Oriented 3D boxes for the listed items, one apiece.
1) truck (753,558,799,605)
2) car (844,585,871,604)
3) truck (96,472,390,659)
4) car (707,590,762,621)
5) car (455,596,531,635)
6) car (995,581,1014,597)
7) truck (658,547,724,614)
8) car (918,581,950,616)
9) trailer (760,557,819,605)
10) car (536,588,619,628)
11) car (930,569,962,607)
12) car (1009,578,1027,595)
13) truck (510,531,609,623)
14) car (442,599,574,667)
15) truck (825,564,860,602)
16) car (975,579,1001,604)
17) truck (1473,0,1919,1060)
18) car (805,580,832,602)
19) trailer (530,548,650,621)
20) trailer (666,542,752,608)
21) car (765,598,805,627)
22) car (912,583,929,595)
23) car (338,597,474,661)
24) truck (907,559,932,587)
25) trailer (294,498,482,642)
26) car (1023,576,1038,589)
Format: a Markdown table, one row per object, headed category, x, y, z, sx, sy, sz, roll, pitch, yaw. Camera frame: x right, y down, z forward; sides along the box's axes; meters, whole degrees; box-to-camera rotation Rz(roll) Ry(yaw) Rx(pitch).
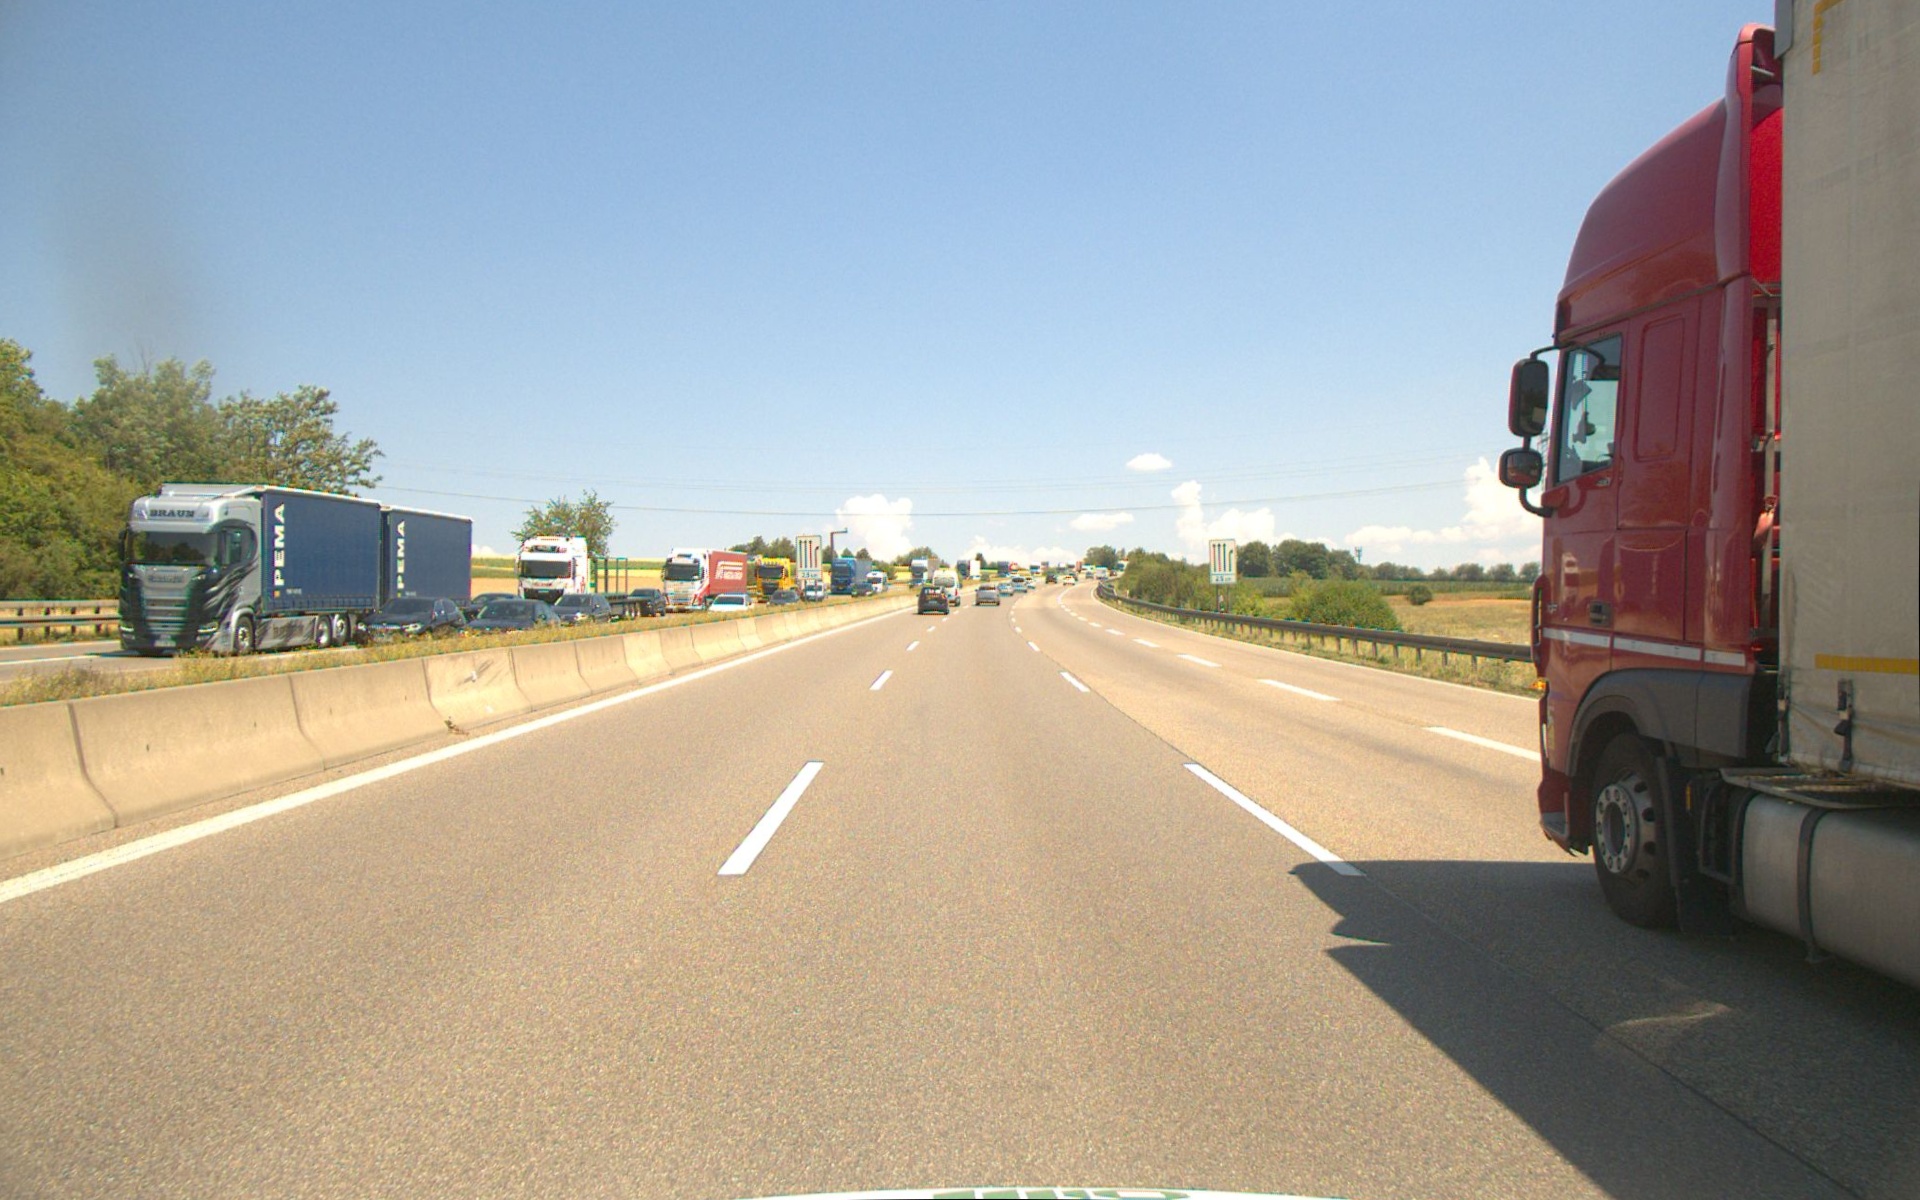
| category | x | y | z | sx | sy | sz | roll | pitch | yaw |
| --- | --- | --- | --- | --- | --- | --- | --- | --- | --- |
| truck | -15.938 | -1.633 | 143.577 | 2.693 | 3.904 | 7.102 | 0 | 1 | 4 |
| car | -9.201 | -0.508 | 148.398 | 2.007 | 1.725 | 5.256 | 0 | 1 | 0 |
| truck | -18.418 | -0.849 | 43.584 | 2.939 | 4.308 | 10.734 | 0 | 0 | 1 |
| car | -10.392 | 0.291 | 76.573 | 1.800 | 1.307 | 4.874 | 0 | -2 | 0 |
| car | -17.876 | 0.569 | 63.497 | 1.622 | 1.456 | 4.648 | 0 | 0 | 0 |
| car | 4.835 | -1.205 | 178.074 | 1.952 | 1.613 | 4.001 | -1 | 0 | 2 |
| truck | -17.230 | -1.244 | 106.354 | 2.972 | 4.153 | 6.317 | 0 | 1 | 2 |
| car | -1.510 | -0.114 | 96.323 | 1.809 | 1.893 | 4.206 | 0 | 2 | 0 |
| trailer | -15.439 | -1.781 | 150.826 | 2.890 | 4.172 | 14.389 | 0 | 1 | 4 |
| car | -14.439 | 0.279 | 62.697 | 1.953 | 1.481 | 5.170 | 0 | 0 | 0 |
| car | -1.023 | -0.867 | 122.375 | 2.134 | 2.671 | 4.673 | 0 | -2 | 2 |
| car | 6.944 | -1.602 | 197.900 | 1.952 | 1.937 | 3.999 | 0 | -2 | 0 |
| truck | -17.944 | -1.023 | 74.515 | 2.841 | 3.944 | 6.179 | 0 | 0 | 1 |
| car | -11.141 | 0.772 | 41.131 | 1.953 | 1.554 | 4.772 | 1 | 0 | 0 |
| truck | -13.244 | -1.958 | 186.915 | 3.011 | 4.161 | 6.939 | 0 | 1 | 4 |
| car | 2.156 | -0.618 | 126.808 | 1.952 | 1.781 | 4.000 | 0 | -2 | 0 |
| truck | 4.618 | -0.490 | 6.797 | 2.857 | 4.079 | 6.509 | 1 | 0 | -1 |
| car | -12.021 | -0.797 | 140.779 | 1.874 | 1.803 | 4.763 | 0 | 0 | 0 |
| trailer | -17.864 | -0.768 | 80.869 | 2.799 | 3.262 | 12.785 | 0 | 1 | 1 |
| trailer | -16.927 | -1.685 | 112.722 | 3.021 | 4.172 | 14.387 | 0 | 1 | 3 |
| car | -10.263 | 0.725 | 97.379 | 1.800 | 1.611 | 4.555 | 0 | 1 | 0 |
| car | -5.371 | -1.551 | 223.661 | 1.873 | 1.568 | 5.745 | 0 | 1 | 2 |
| car | -14.463 | 0.725 | 43.479 | 1.953 | 1.554 | 4.772 | 1 | 0 | 0 |
| truck | -6.377 | -4.255 | 259.689 | 3.066 | 4.403 | 6.152 | 0 | 1 | 6 |
| trailer | -18.218 | -0.915 | 53.405 | 2.924 | 4.266 | 8.596 | 0 | 0 | 1 |
| car | 9.740 | -2.418 | 227.858 | 1.951 | 1.579 | 4.003 | 1 | 2 | 5 |
